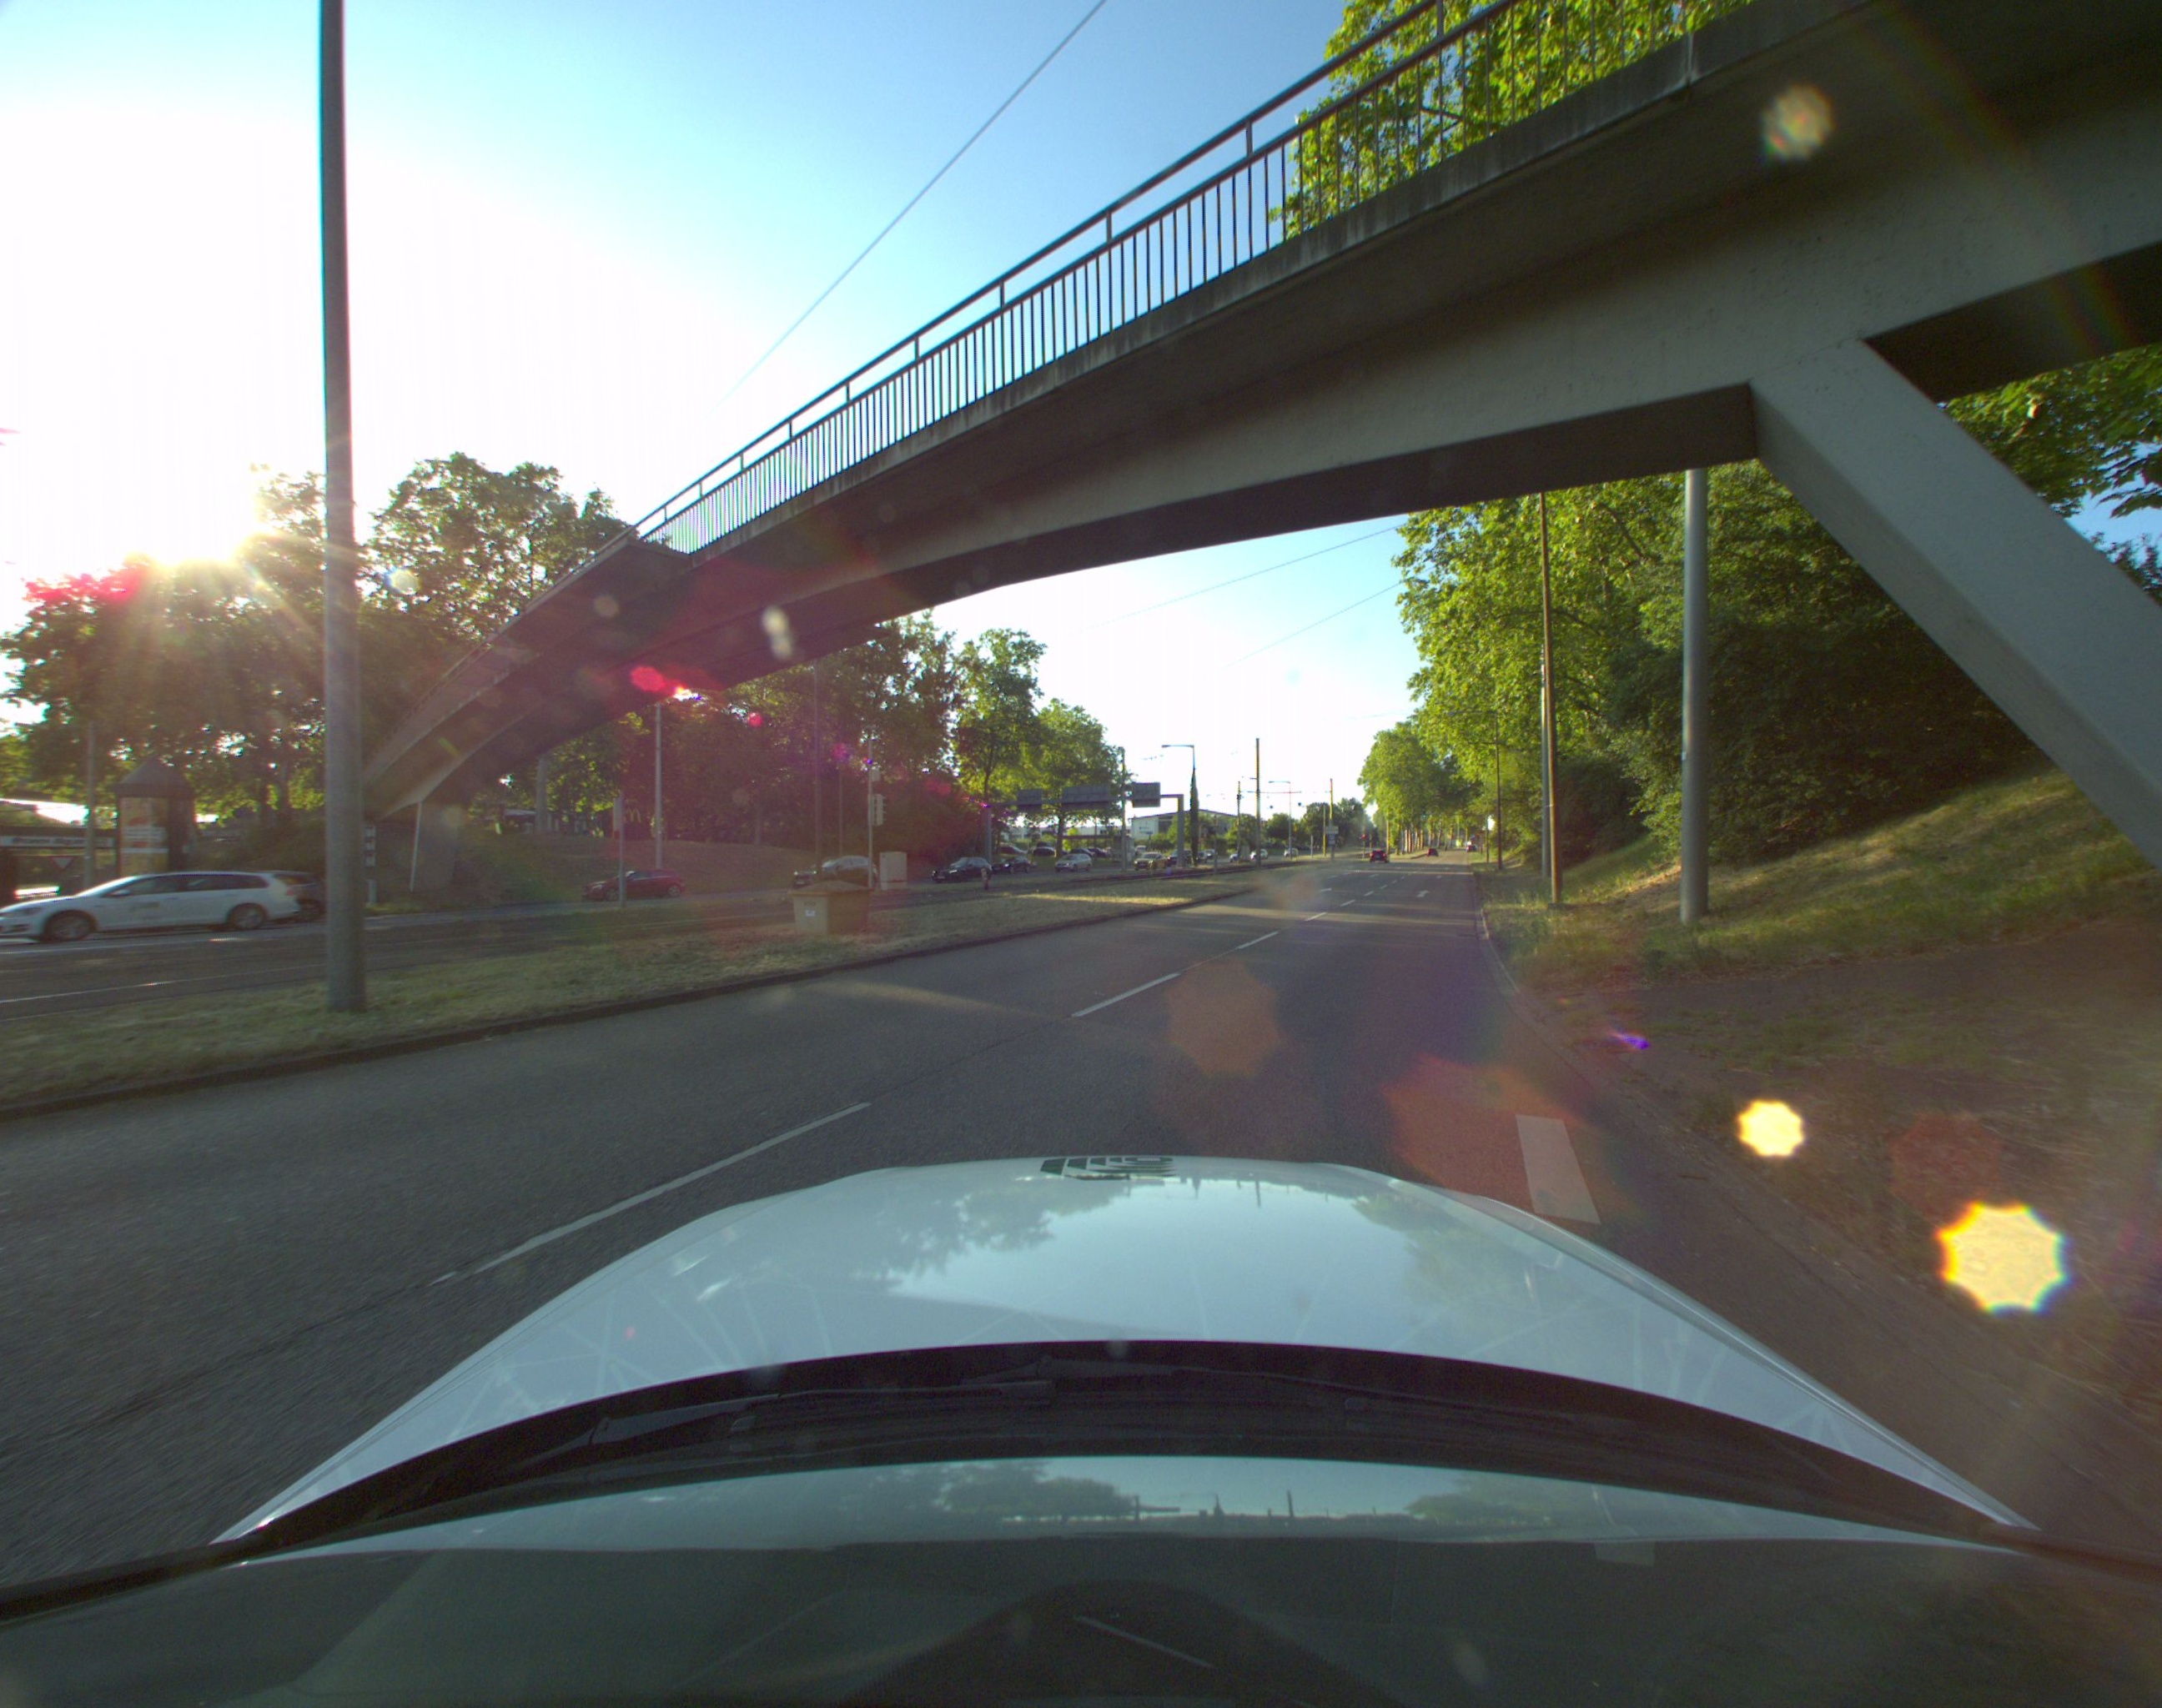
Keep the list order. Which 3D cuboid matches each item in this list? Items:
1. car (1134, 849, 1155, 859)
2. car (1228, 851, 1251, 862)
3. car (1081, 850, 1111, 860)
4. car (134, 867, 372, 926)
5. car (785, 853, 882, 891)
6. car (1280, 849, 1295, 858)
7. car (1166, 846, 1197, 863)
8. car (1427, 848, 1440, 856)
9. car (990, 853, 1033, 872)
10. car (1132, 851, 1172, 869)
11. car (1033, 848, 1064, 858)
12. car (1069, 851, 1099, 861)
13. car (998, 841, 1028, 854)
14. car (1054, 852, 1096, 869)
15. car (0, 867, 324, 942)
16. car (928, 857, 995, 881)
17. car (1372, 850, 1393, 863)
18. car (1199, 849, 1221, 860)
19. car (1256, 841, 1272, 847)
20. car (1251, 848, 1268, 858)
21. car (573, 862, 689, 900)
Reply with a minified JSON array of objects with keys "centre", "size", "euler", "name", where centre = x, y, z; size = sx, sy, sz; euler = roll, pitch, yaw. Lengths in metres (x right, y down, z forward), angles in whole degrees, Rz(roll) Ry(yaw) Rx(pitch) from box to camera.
[{"centre":[10.386,0.002,133.129],"size":[1.824,1.442,4.024],"euler":[1,1,28],"name":"car"},{"centre":[20.384,0.347,104.621],"size":[1.822,1.416,4.626],"euler":[0,0,24],"name":"car"},{"centre":[2.223,0.164,118.467],"size":[4.016,1.387,1.795],"euler":[1,0,32],"name":"car"},{"centre":[-23.156,1.122,22.990],"size":[1.987,1.443,4.278],"euler":[0,0,27],"name":"car"},{"centre":[-11.420,0.781,37.845],"size":[1.774,1.651,4.383],"euler":[0,0,27],"name":"car"},{"centre":[34.704,-0.120,136.888],"size":[1.638,1.416,4.283],"euler":[0,0,25],"name":"car"},{"centre":[10.159,0.079,82.058],"size":[1.821,1.655,4.462],"euler":[1,0,26],"name":"car"},{"centre":[58.977,-0.310,136.161],"size":[1.776,1.403,3.710],"euler":[1,0,26],"name":"car"},{"centre":[-5.620,0.685,66.496],"size":[1.671,1.416,4.216],"euler":[1,0,24],"name":"car"},{"centre":[5.782,0.497,65.737],"size":[1.821,1.416,4.042],"euler":[0,0,27],"name":"car"},{"centre":[-4.701,-0.160,118.146],"size":[4.017,1.387,1.795],"euler":[1,0,27],"name":"car"},{"centre":[0.420,0.241,115.665],"size":[4.016,1.387,1.795],"euler":[1,0,32],"name":"car"},{"centre":[-10.089,-0.957,120.584],"size":[3.949,1.860,2.012],"euler":[0,0,28],"name":"car"},{"centre":[-0.467,0.529,68.366],"size":[1.671,1.416,4.464],"euler":[1,0,26],"name":"car"},{"centre":[-21.184,1.059,18.895],"size":[1.987,1.443,4.889],"euler":[0,0,27],"name":"car"},{"centre":[-6.917,0.845,47.599],"size":[1.670,1.310,4.335],"euler":[0,0,28],"name":"car"},{"centre":[33.398,0.233,90.257],"size":[1.776,1.403,3.711],"euler":[-1,0,26],"name":"car"},{"centre":[18.457,0.111,116.171],"size":[1.822,1.481,4.626],"euler":[1,0,25],"name":"car"},{"centre":[38.738,-2.102,172.311],"size":[3.115,1.391,1.463],"euler":[1,0,22],"name":"car"},{"centre":[25.739,-0.097,117.412],"size":[1.638,1.416,4.283],"euler":[0,0,24],"name":"car"},{"centre":[-20.881,1.208,37.927],"size":[1.773,1.651,4.384],"euler":[-1,-1,38],"name":"car"}]
